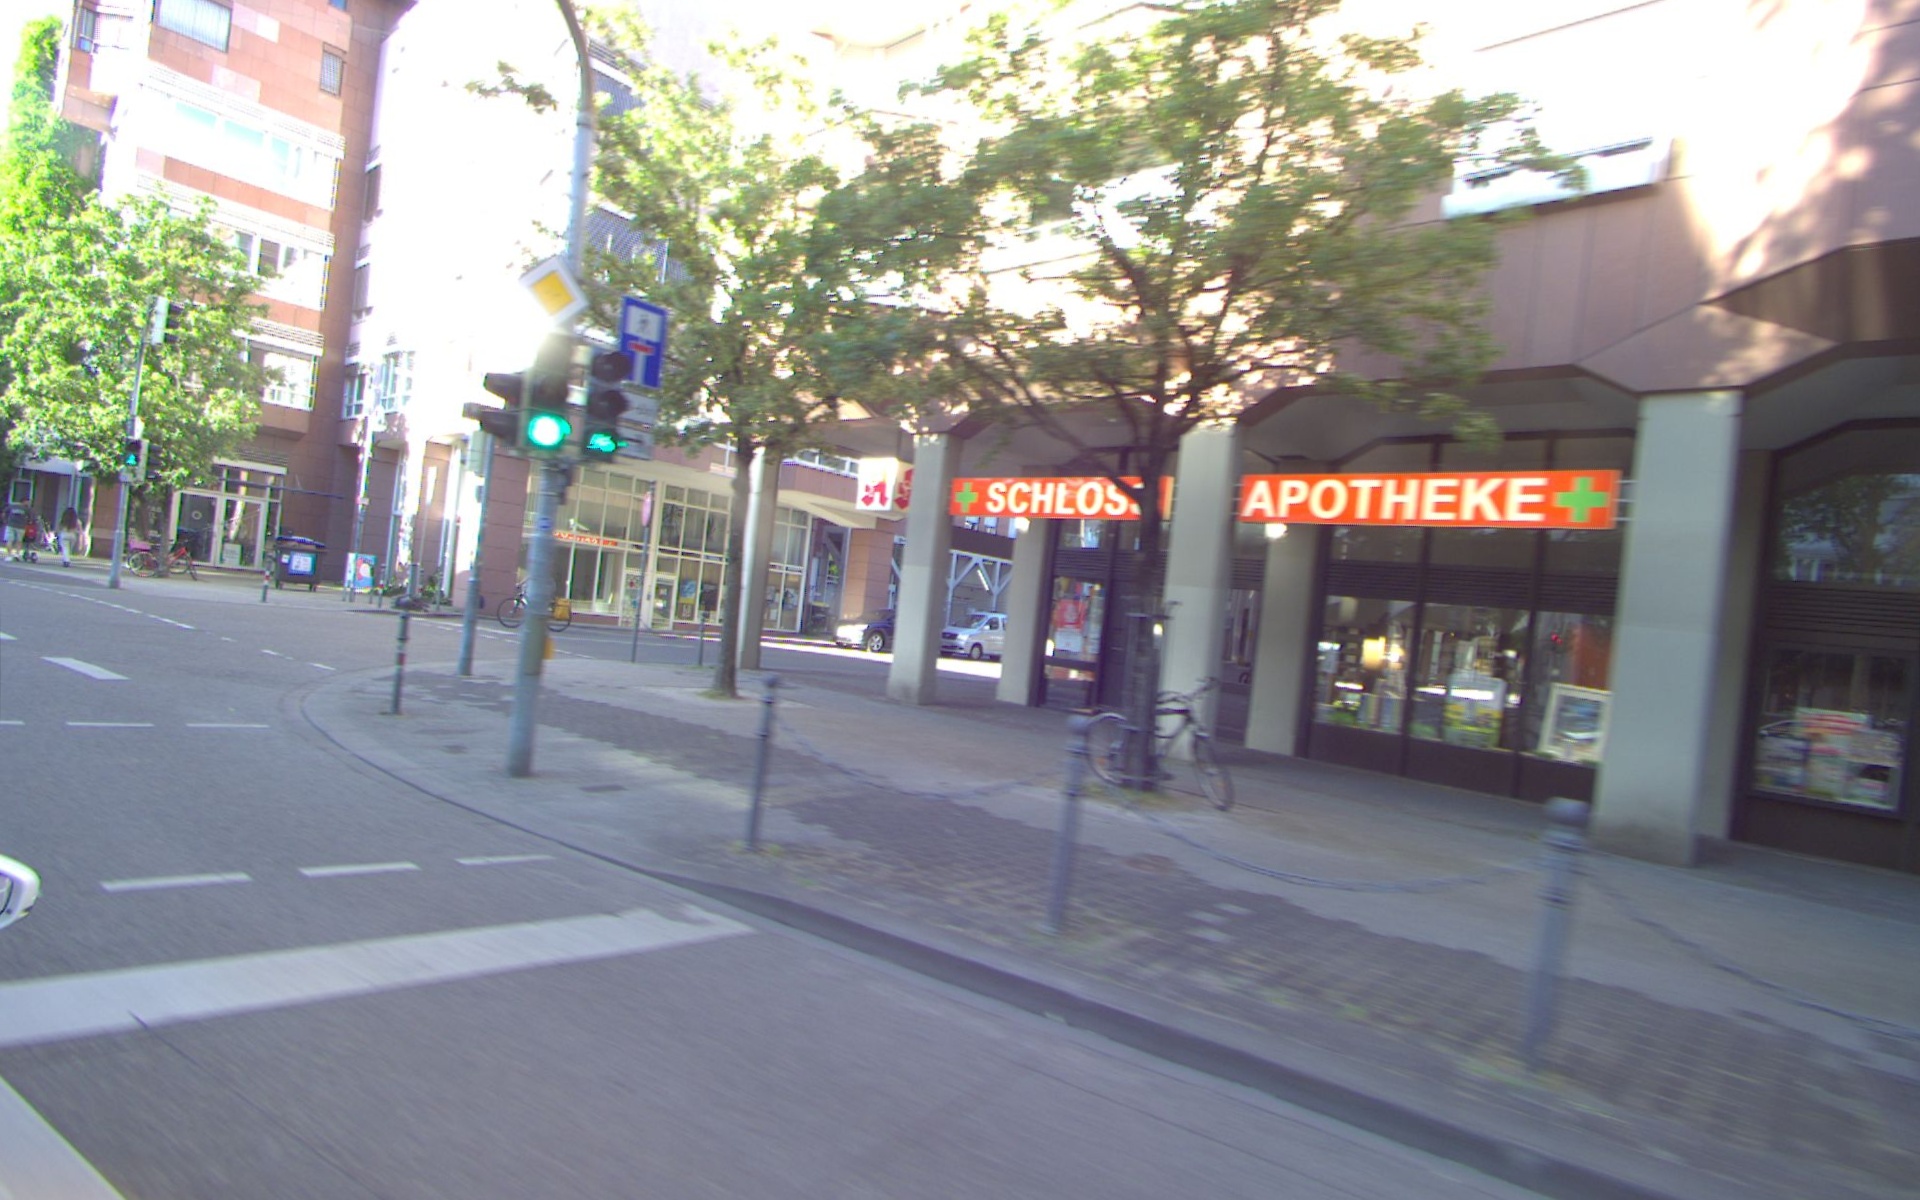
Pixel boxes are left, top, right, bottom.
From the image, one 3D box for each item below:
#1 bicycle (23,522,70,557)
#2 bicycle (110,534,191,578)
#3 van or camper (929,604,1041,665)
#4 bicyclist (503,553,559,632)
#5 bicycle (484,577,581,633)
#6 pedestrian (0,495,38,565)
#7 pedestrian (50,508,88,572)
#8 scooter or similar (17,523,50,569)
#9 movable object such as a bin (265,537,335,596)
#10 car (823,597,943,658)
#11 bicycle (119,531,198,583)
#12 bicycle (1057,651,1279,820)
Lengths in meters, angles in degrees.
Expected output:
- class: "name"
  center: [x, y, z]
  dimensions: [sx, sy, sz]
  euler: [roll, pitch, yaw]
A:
- class: "bicycle"
  center: [-29.393, -1.944, 32.367]
  dimensions: [1.725, 0.951, 0.737]
  euler: [6, 0, 37]
- class: "bicycle"
  center: [-24.544, -1.329, 30.537]
  dimensions: [1.733, 1.066, 0.734]
  euler: [7, -1, -31]
- class: "van or camper"
  center: [1.076, 1.437, 40.889]
  dimensions: [1.778, 1.996, 4.552]
  euler: [6, -1, 43]
- class: "bicyclist"
  center: [-10.311, -0.180, 24.204]
  dimensions: [0.777, 1.792, 0.824]
  euler: [6, 0, 41]
- class: "bicycle"
  center: [-10.296, 0.125, 24.260]
  dimensions: [0.792, 1.126, 1.913]
  euler: [6, -1, 40]
- class: "pedestrian"
  center: [-25.726, -1.909, 27.336]
  dimensions: [0.601, 1.784, 0.785]
  euler: [7, 0, 40]
- class: "pedestrian"
  center: [-24.843, -1.683, 28.044]
  dimensions: [0.668, 1.693, 0.460]
  euler: [7, 0, 29]
- class: "scooter or similar"
  center: [-25.518, -1.497, 27.693]
  dimensions: [1.231, 1.172, 0.394]
  euler: [6, 0, 38]
- class: "movable object such as a bin"
  center: [-19.020, -0.968, 28.990]
  dimensions: [0.860, 1.500, 1.407]
  euler: [6, -1, 44]
- class: "car"
  center: [-2.728, 1.027, 36.549]
  dimensions: [1.776, 1.742, 4.180]
  euler: [6, -1, 41]
- class: "bicycle"
  center: [-22.453, -1.190, 28.209]
  dimensions: [0.569, 1.242, 1.567]
  euler: [7, -1, 38]
- class: "bicycle"
  center: [1.902, 1.221, 9.449]
  dimensions: [0.620, 1.240, 1.902]
  euler: [7, 0, -45]
